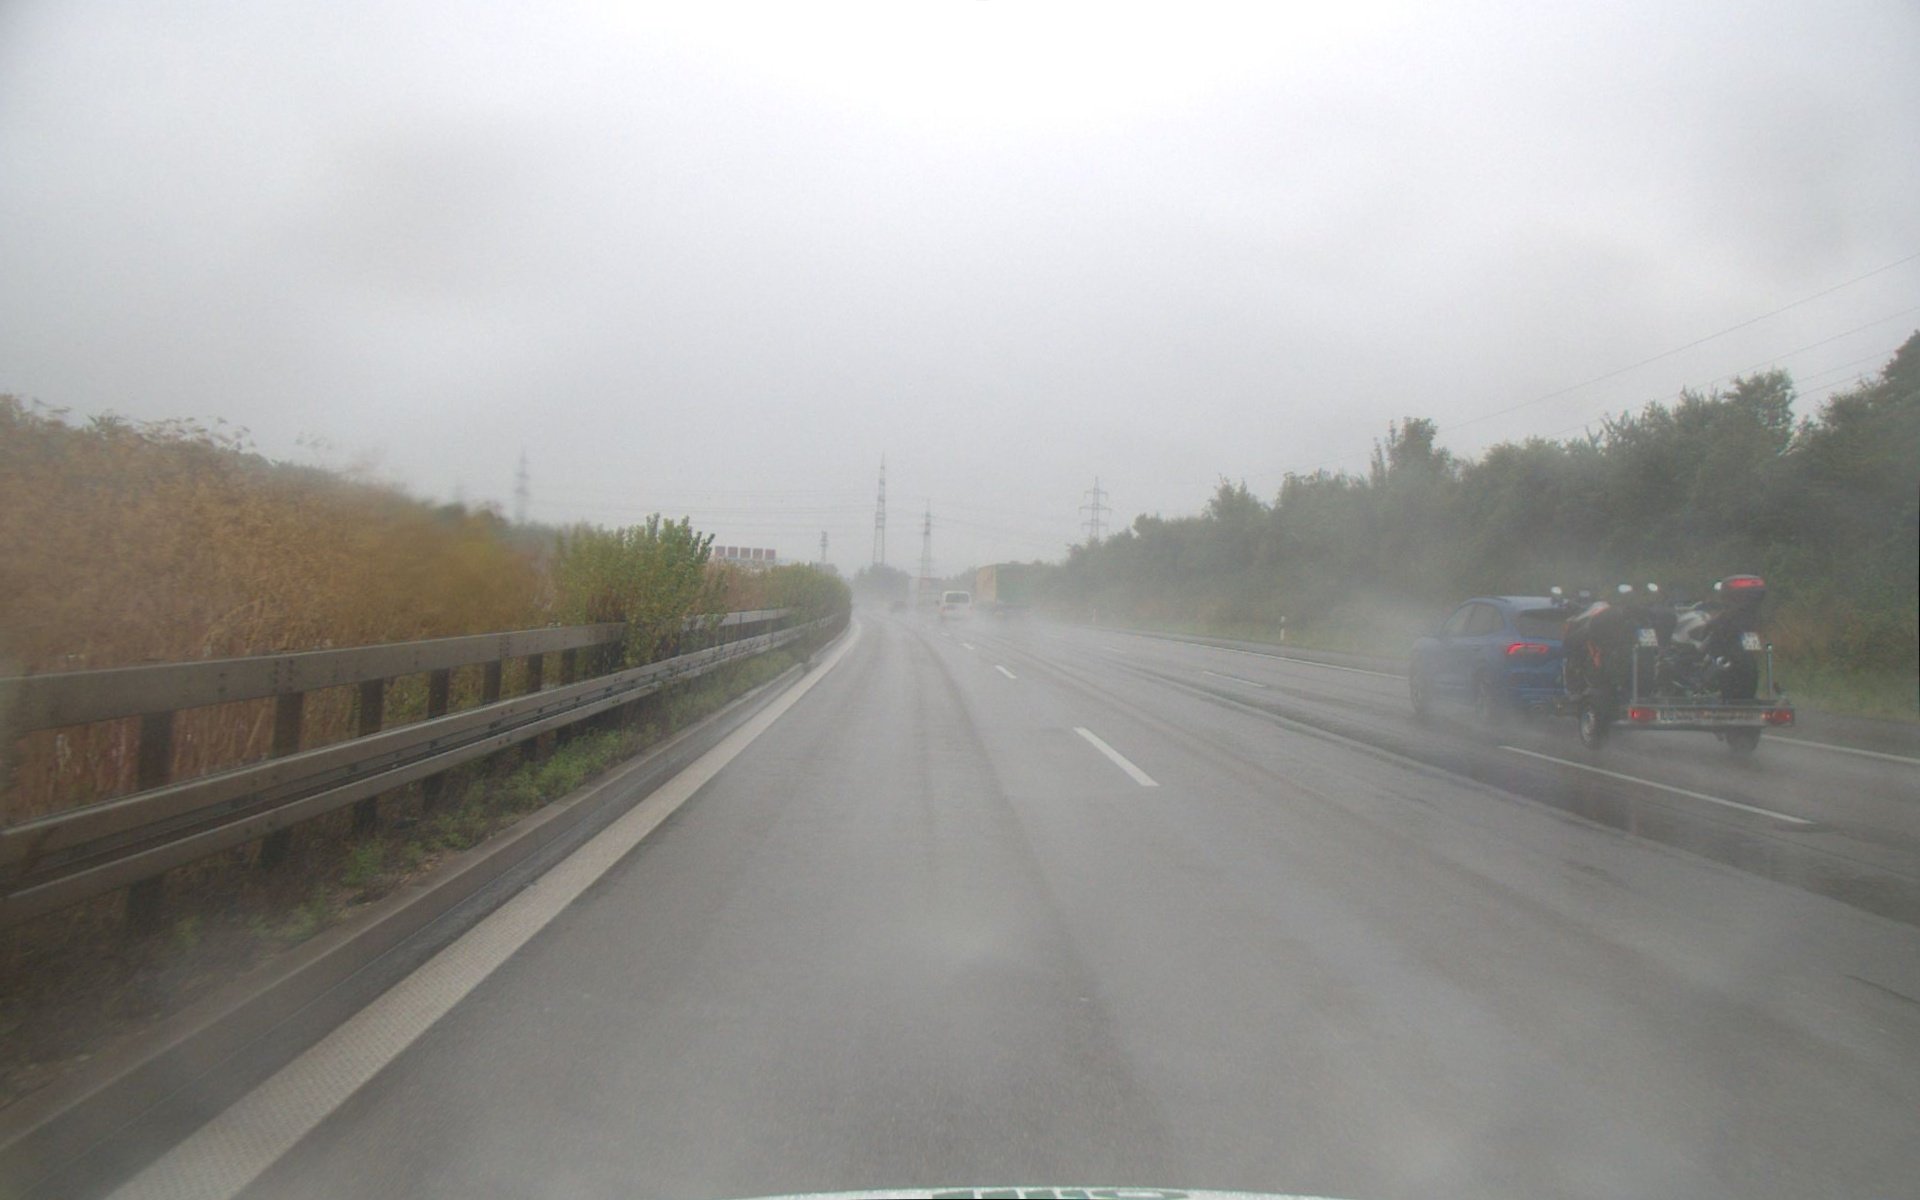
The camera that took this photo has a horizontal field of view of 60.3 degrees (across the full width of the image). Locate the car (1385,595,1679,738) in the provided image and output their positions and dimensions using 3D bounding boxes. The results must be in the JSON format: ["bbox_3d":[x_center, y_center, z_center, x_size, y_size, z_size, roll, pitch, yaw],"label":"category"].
[{"bbox_3d":[7.296,0.793,21.727,1.953,1.647,4.990,1,-1,-3],"label":"car"}]

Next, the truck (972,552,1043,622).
[{"bbox_3d":[3.264,-0.829,120.235,4.105,4.711,16.098,1,0,-2],"label":"truck"}]

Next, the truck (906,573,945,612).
[{"bbox_3d":[-3.985,-0.882,190.720,3.174,4.387,8.815,1,0,-10],"label":"truck"}]

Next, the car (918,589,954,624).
[{"bbox_3d":[-1.442,0.379,98.935,1.954,2.049,3.997,1,0,-4],"label":"car"}]

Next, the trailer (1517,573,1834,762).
[{"bbox_3d":[7.478,0.668,17.634,1.939,1.816,3.187,1,-1,-2],"label":"trailer"}]
